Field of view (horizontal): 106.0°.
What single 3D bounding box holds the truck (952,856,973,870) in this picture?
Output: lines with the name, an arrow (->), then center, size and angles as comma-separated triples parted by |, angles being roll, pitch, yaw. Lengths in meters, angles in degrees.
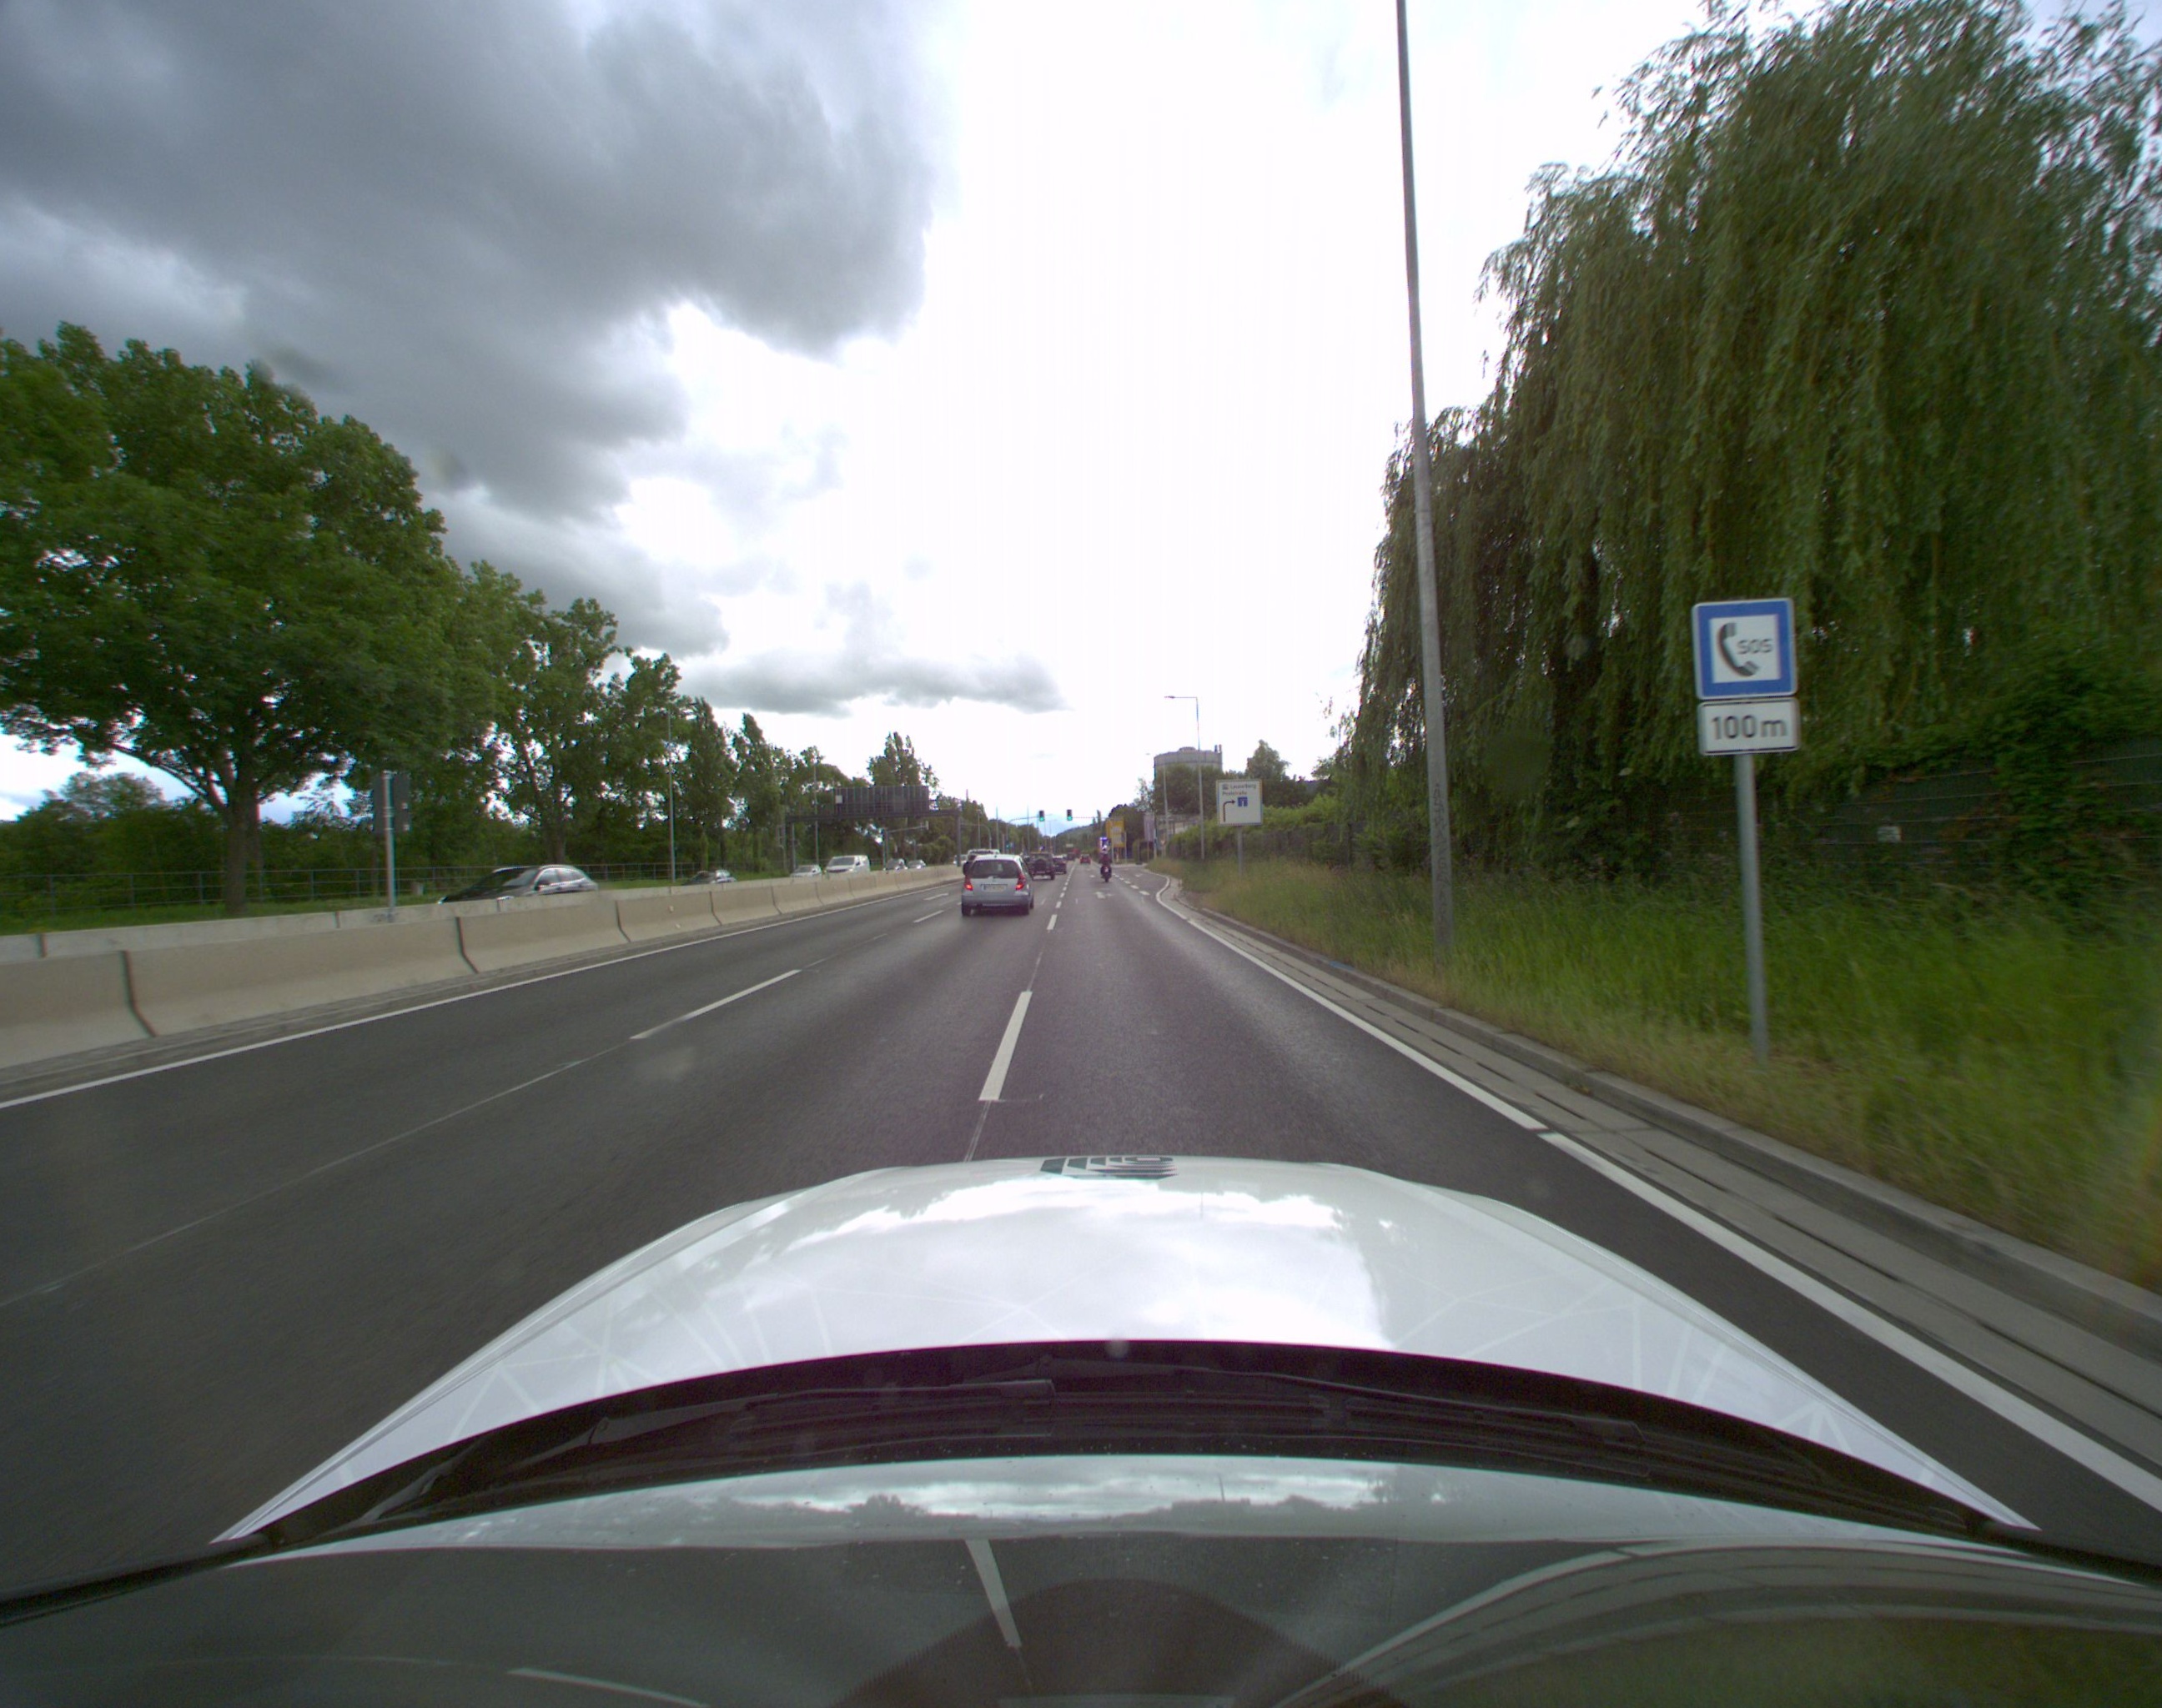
truck -> -18.099, 1.292, 124.357 | 2.196, 2.013, 6.303 | 0, 0, 1

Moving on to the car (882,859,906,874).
car -> -21.729, 1.473, 94.828 | 1.872, 1.683, 3.927 | 0, 0, 0

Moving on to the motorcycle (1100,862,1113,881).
motorcycle -> 1.419, 0.950, 44.899 | 0.704, 1.040, 2.027 | 0, 0, 2

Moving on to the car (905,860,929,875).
car -> -18.464, 1.491, 91.632 | 1.872, 1.683, 4.125 | 0, 0, 0

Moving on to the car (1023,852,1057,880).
car -> -2.523, 0.706, 51.075 | 1.901, 1.684, 4.000 | 0, 0, 0

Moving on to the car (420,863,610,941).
car -> -14.087, 1.119, 20.621 | 1.987, 1.739, 4.000 | 0, 0, 0

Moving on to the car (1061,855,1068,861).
car -> -4.982, 1.192, 246.857 | 1.987, 2.013, 4.000 | 0, 0, 0

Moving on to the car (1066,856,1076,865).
car -> -2.247, 1.436, 184.141 | 1.987, 2.013, 4.000 | 0, 0, 0

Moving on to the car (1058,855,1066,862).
car -> -5.080, 1.276, 222.320 | 1.987, 2.013, 4.000 | 0, 0, 0

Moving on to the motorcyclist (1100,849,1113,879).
motorcyclist -> 1.419, 0.546, 44.935 | 0.682, 1.610, 0.845 | 0, 0, 1

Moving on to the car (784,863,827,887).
car -> -21.050, 1.588, 62.413 | 1.872, 1.683, 4.121 | 0, 0, 0

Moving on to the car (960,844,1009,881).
car -> -5.312, 0.452, 45.408 | 2.209, 1.925, 4.999 | 0, 0, -2

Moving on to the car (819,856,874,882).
car -> -15.008, 0.901, 52.358 | 1.986, 1.559, 4.888 | 0, 0, 2

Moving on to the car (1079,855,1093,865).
car -> 0.789, 0.901, 129.439 | 1.988, 1.552, 3.998 | 0, 0, -1

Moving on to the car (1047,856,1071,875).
car -> -1.738, 0.938, 65.945 | 1.834, 1.464, 3.999 | 0, 0, 0

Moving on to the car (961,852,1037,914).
car -> -2.171, 0.724, 22.470 | 1.705, 1.530, 3.999 | 0, 0, -1

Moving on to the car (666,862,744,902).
car -> -20.664, 1.501, 45.006 | 1.986, 2.013, 4.667 | 0, 0, 2
